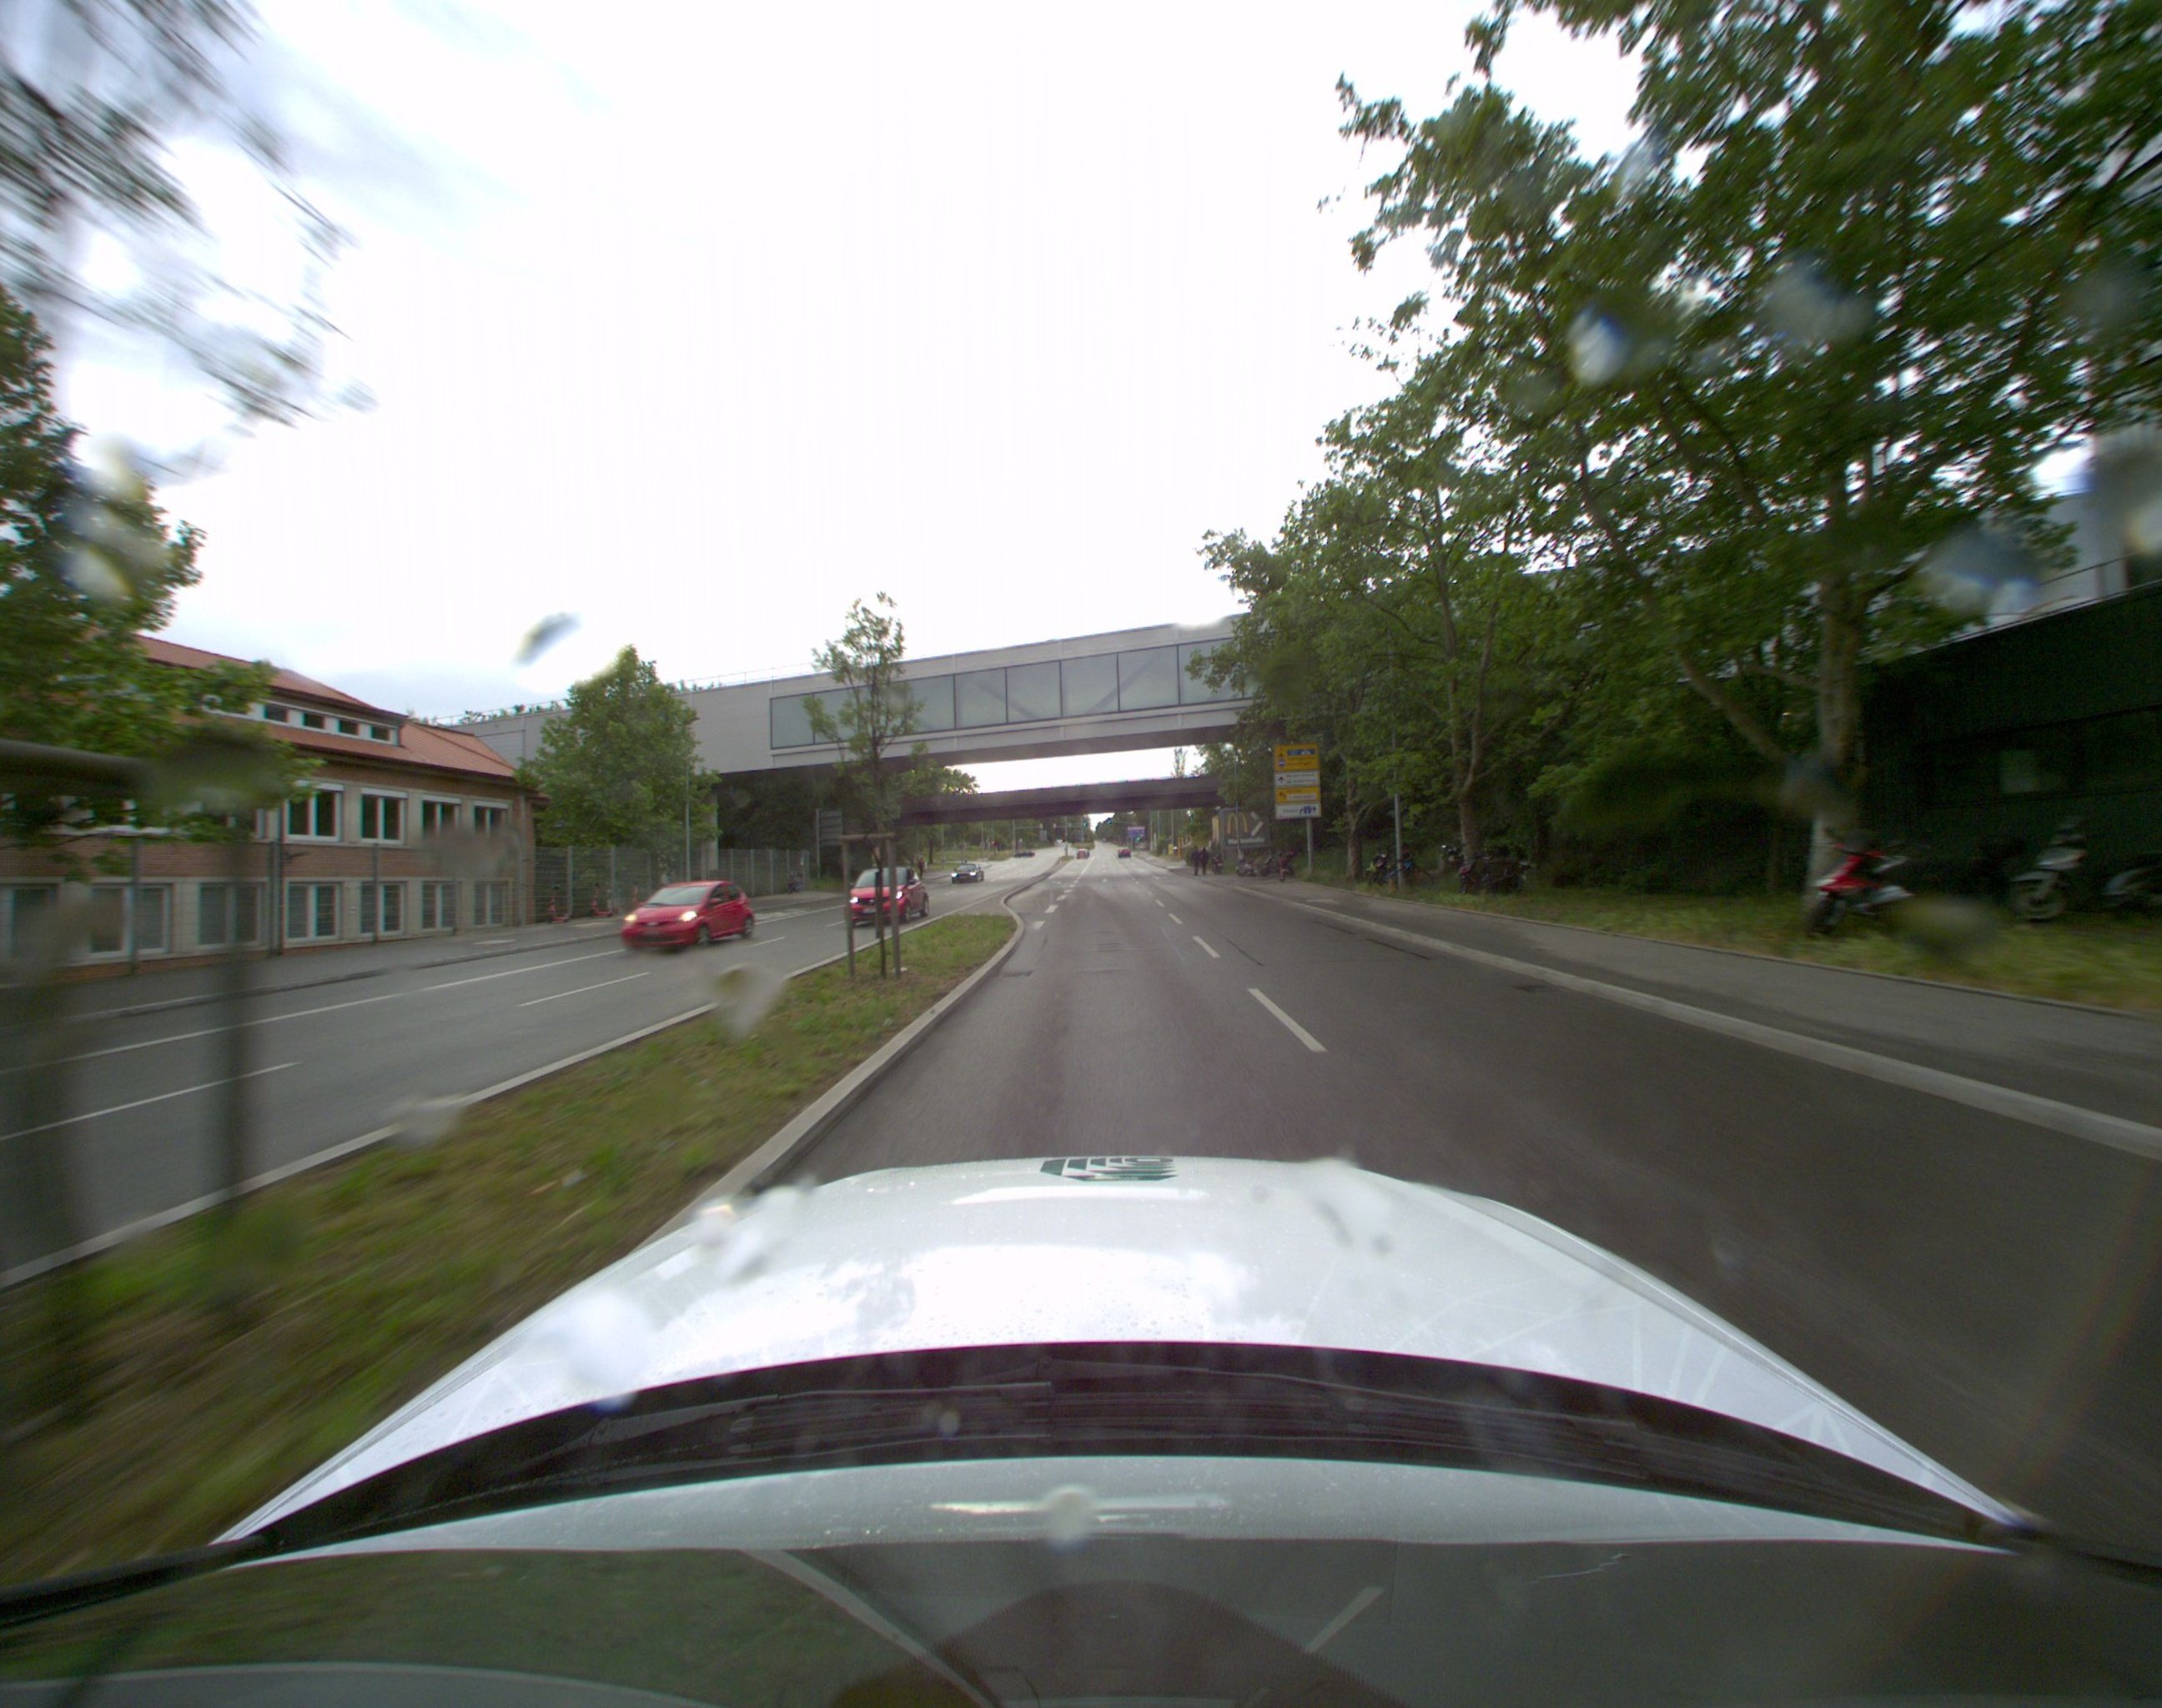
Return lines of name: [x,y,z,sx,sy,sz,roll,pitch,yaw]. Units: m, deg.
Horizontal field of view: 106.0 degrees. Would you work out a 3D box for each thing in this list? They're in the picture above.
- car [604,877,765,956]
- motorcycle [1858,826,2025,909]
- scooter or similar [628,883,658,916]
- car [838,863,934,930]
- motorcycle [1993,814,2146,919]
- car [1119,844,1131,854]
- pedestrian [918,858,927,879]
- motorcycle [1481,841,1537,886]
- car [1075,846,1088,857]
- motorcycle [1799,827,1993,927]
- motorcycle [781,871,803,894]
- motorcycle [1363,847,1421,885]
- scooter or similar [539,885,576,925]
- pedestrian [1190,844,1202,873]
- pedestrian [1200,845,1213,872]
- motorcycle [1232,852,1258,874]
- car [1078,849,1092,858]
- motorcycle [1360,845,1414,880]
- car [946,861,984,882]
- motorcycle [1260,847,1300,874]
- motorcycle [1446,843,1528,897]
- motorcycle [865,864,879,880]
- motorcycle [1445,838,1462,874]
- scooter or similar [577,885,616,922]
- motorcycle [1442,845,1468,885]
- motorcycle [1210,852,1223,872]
car: [-8.886,1.335,18.632,1.710,1.437,3.772,-4,-1,0]
motorcycle: [13.439,0.217,12.755,1.904,1.257,0.492,0,-1,7]
scooter or similar: [-17.117,1.768,31.841,0.310,1.218,1.310,-3,0,6]
car: [-5.371,1.120,22.941,1.579,1.605,3.856,-4,-1,1]
motorcycle: [13.153,0.161,10.850,1.495,1.365,0.505,0,-1,-4]
car: [6.788,-0.789,125.648,1.739,1.470,4.167,-2,1,1]
pedestrian: [-14.513,1.325,74.632,0.516,1.816,0.802,-2,0,11]
motorcycle: [12.865,0.278,24.542,0.643,1.279,1.991,-2,-1,1]
car: [0.113,-0.328,132.456,2.070,1.718,4.197,0,-1,0]
motorcycle: [9.650,0.273,9.685,1.643,1.150,0.494,-1,-1,9]
motorcycle: [-16.726,1.657,47.204,0.467,1.205,1.997,-3,0,1]
motorcycle: [10.977,0.415,28.734,1.851,1.253,0.627,-3,0,-14]
scooter or similar: [-17.286,1.671,26.920,0.310,1.218,1.308,-3,0,2]
pedestrian: [6.953,0.286,49.170,0.607,1.721,0.895,-3,0,11]
pedestrian: [7.548,0.249,49.011,0.646,1.596,0.581,-3,0,13]
motorcycle: [8.999,0.498,44.678,0.471,1.213,1.933,-3,0,-17]
car: [0.696,-0.057,147.630,2.155,1.583,4.671,0,-1,5]
motorcycle: [11.408,0.328,30.435,0.632,1.253,1.835,-2,0,-33]
car: [-8.586,1.257,60.609,2.057,1.361,4.756,-3,0,0]
motorcycle: [10.438,0.339,42.737,1.919,1.297,0.551,-3,0,36]
motorcycle: [9.841,0.378,19.744,1.851,1.191,0.519,-3,0,-14]
motorcycle: [-16.329,1.429,63.660,0.466,1.158,1.935,-3,0,5]
motorcycle: [13.994,0.063,30.591,0.345,1.279,2.084,-2,0,29]
scooter or similar: [-17.251,1.759,29.013,0.309,1.218,1.312,-3,0,13]
motorcycle: [12.666,0.361,27.537,0.515,1.279,1.866,-2,0,32]
motorcycle: [8.148,0.479,49.002,0.468,1.136,1.819,-3,0,1]
